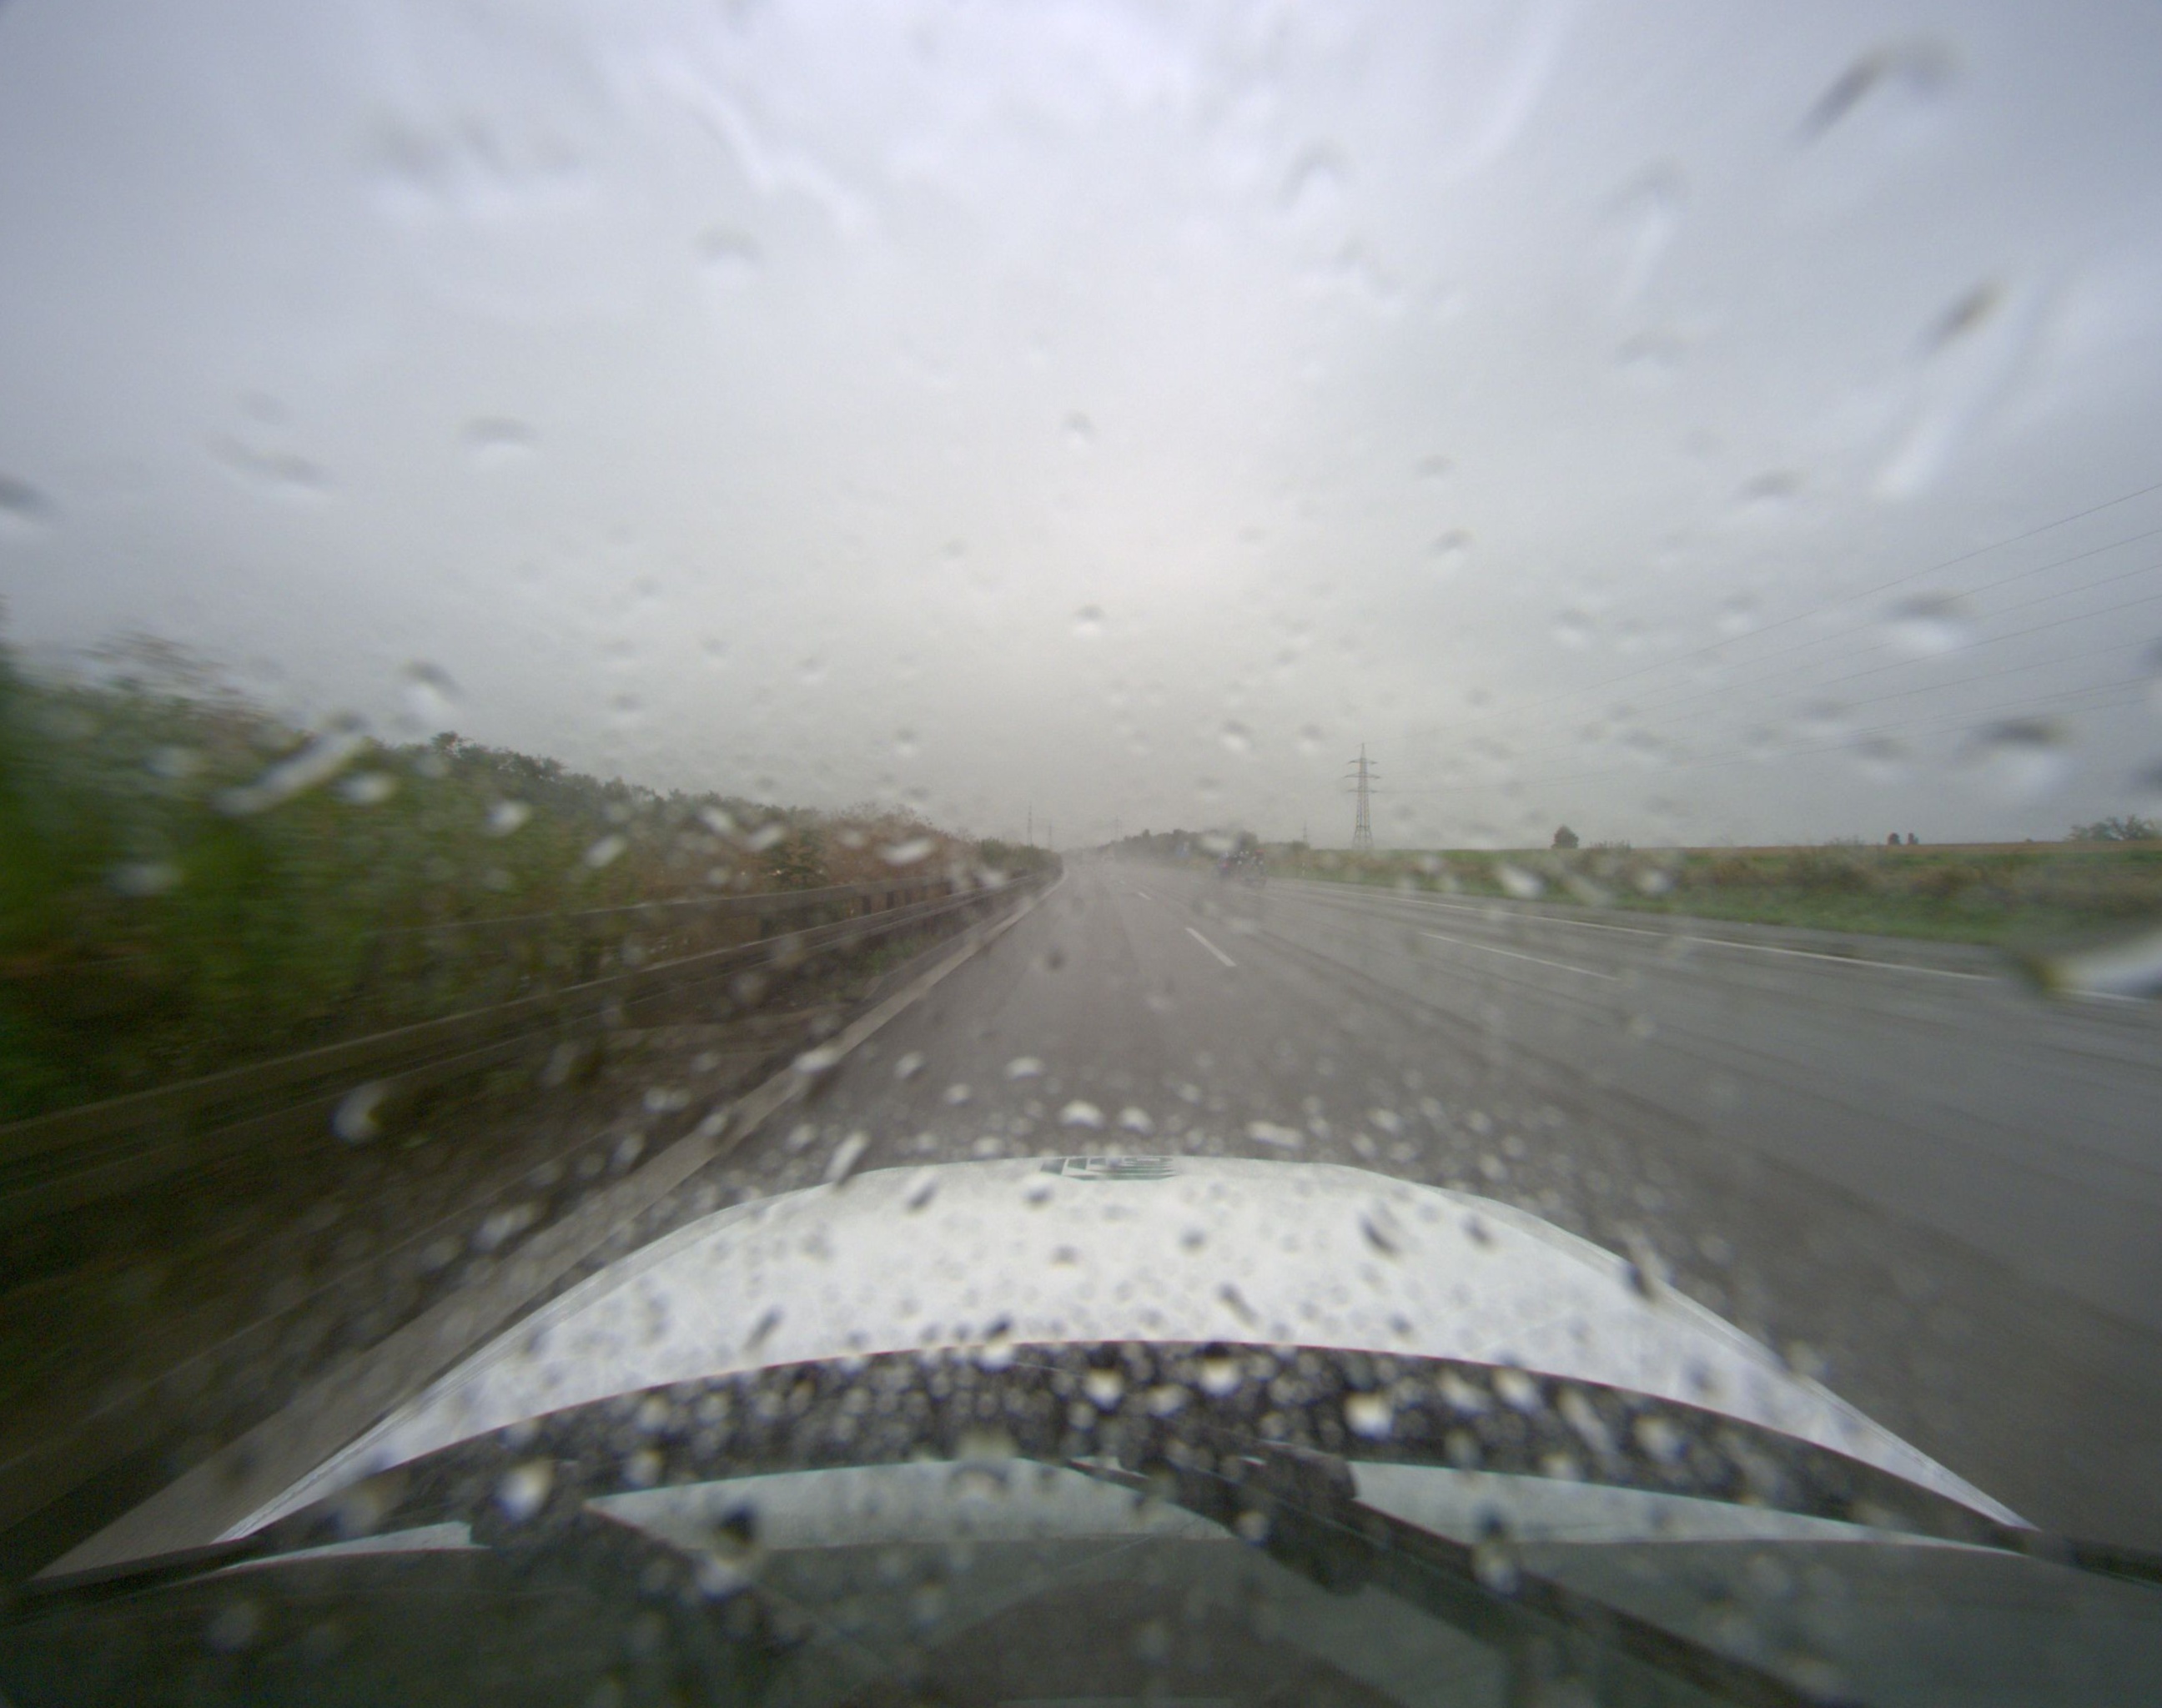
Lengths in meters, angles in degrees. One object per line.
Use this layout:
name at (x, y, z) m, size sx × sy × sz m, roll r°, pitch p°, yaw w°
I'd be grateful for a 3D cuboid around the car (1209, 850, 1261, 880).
car at (8.649, 0.639, 46.238) m, size 1.987 × 1.619 × 4.991 m, roll -1°, pitch -1°, yaw 0°

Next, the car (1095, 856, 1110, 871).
car at (2.965, 1.283, 114.454) m, size 1.987 × 2.014 × 3.999 m, roll -1°, pitch 0°, yaw 0°

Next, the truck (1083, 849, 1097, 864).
truck at (2.507, 0.731, 227.859) m, size 3.224 × 4.311 × 8.828 m, roll -1°, pitch 0°, yaw -2°

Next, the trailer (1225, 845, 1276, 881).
trailer at (8.734, 0.478, 42.160) m, size 1.972 × 1.785 × 3.188 m, roll -1°, pitch -1°, yaw 0°

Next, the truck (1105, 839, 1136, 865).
truck at (7.422, -0.262, 156.980) m, size 4.180 × 4.630 × 16.083 m, roll -1°, pitch -1°, yaw -3°
